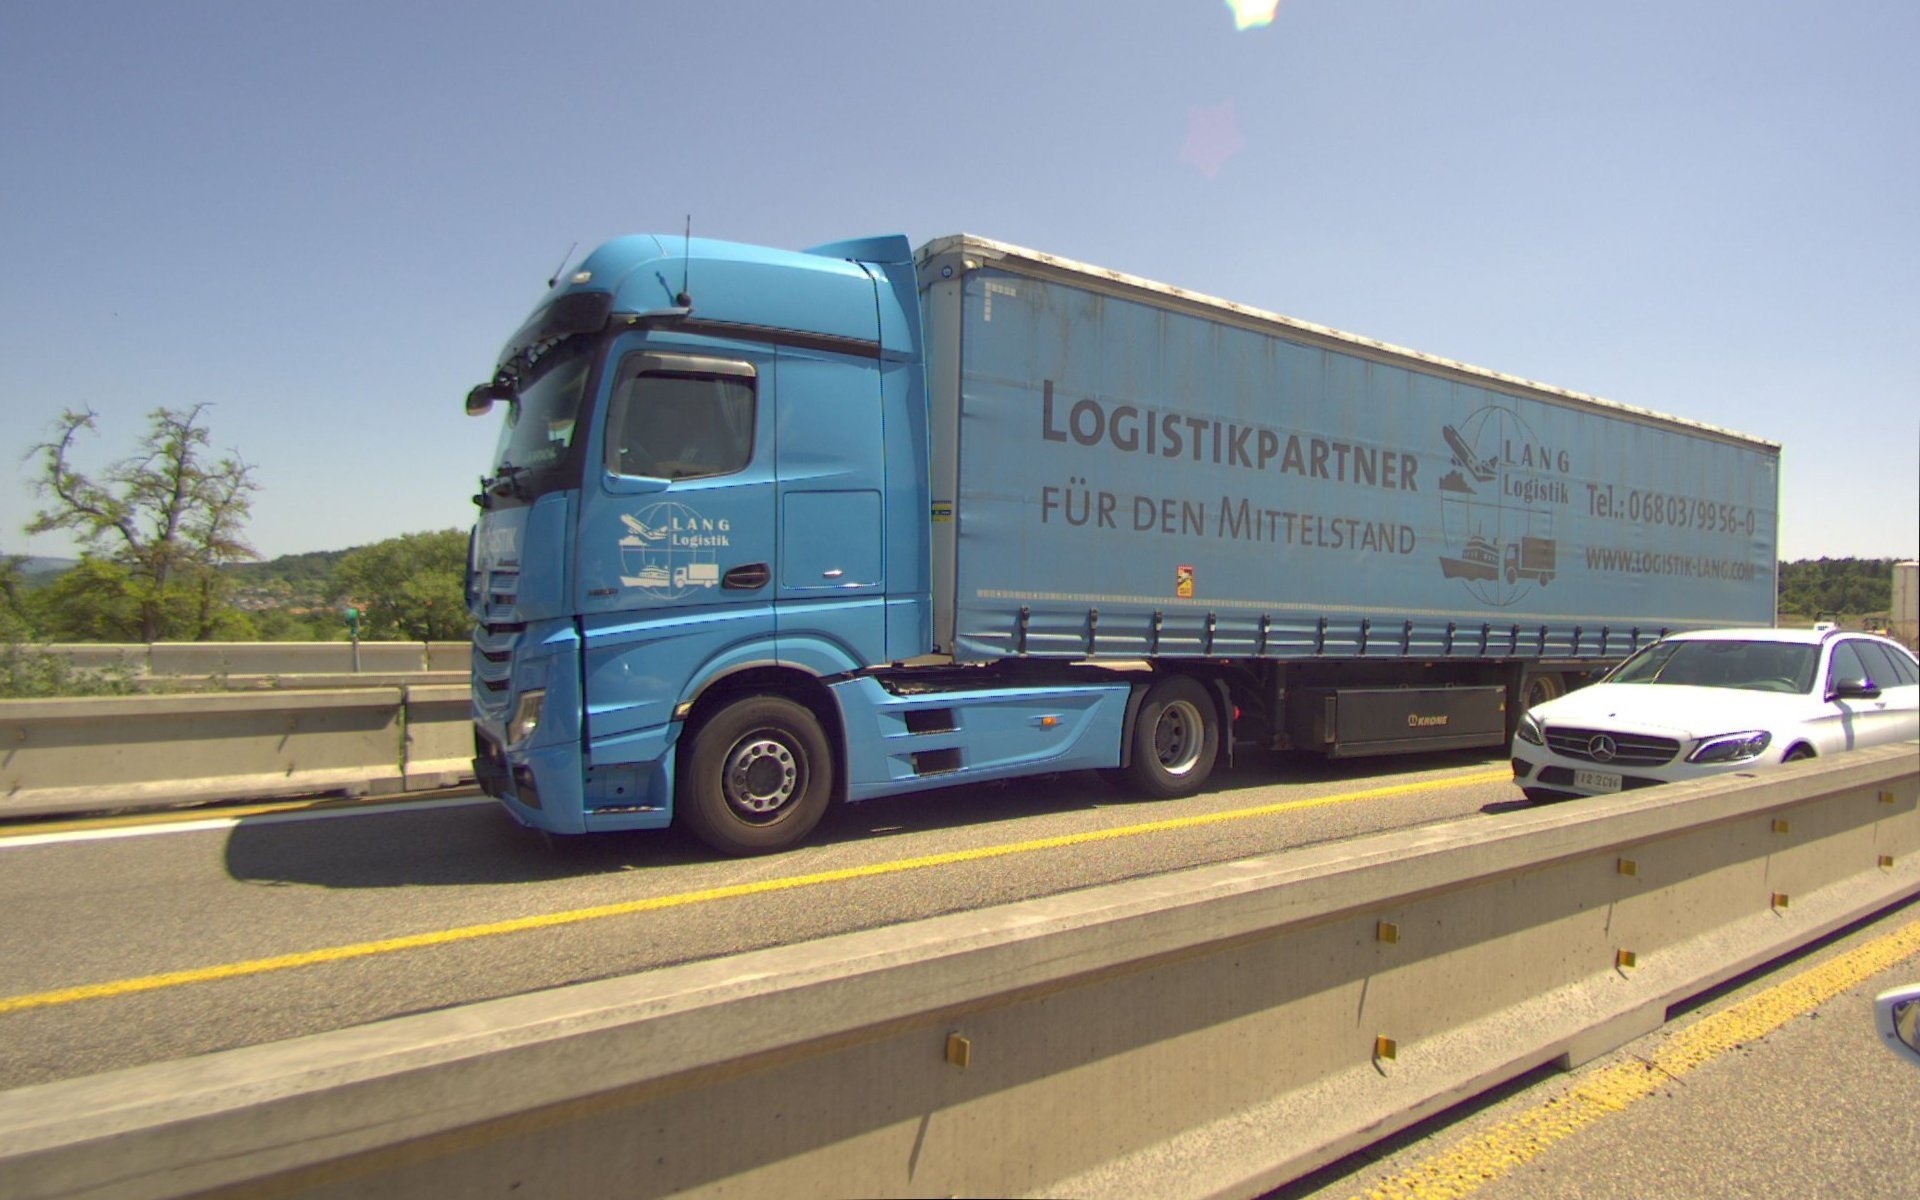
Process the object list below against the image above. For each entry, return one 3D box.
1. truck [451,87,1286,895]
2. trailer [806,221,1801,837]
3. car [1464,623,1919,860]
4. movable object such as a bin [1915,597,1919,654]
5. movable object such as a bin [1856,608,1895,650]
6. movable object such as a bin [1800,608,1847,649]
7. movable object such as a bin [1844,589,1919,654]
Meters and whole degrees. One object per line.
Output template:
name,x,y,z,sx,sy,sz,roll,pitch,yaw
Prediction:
truck,-0.548,-0.519,8.104,6.073,4.184,2.897,1,0,-33
trailer,5.176,-0.381,11.696,13.759,4.184,2.899,1,0,-32
car,6.438,0.930,8.272,4.535,1.463,2.006,1,-2,-31
movable object such as a bin,45.852,1.287,43.481,2.759,2.800,6.063,2,3,-6
movable object such as a bin,76.028,2.371,83.407,3.731,3.168,1.973,-1,5,-45
movable object such as a bin,73.567,2.385,85.546,5.445,3.168,2.397,0,5,-45
movable object such as a bin,40.445,1.039,40.010,3.644,2.465,7.930,3,3,4
